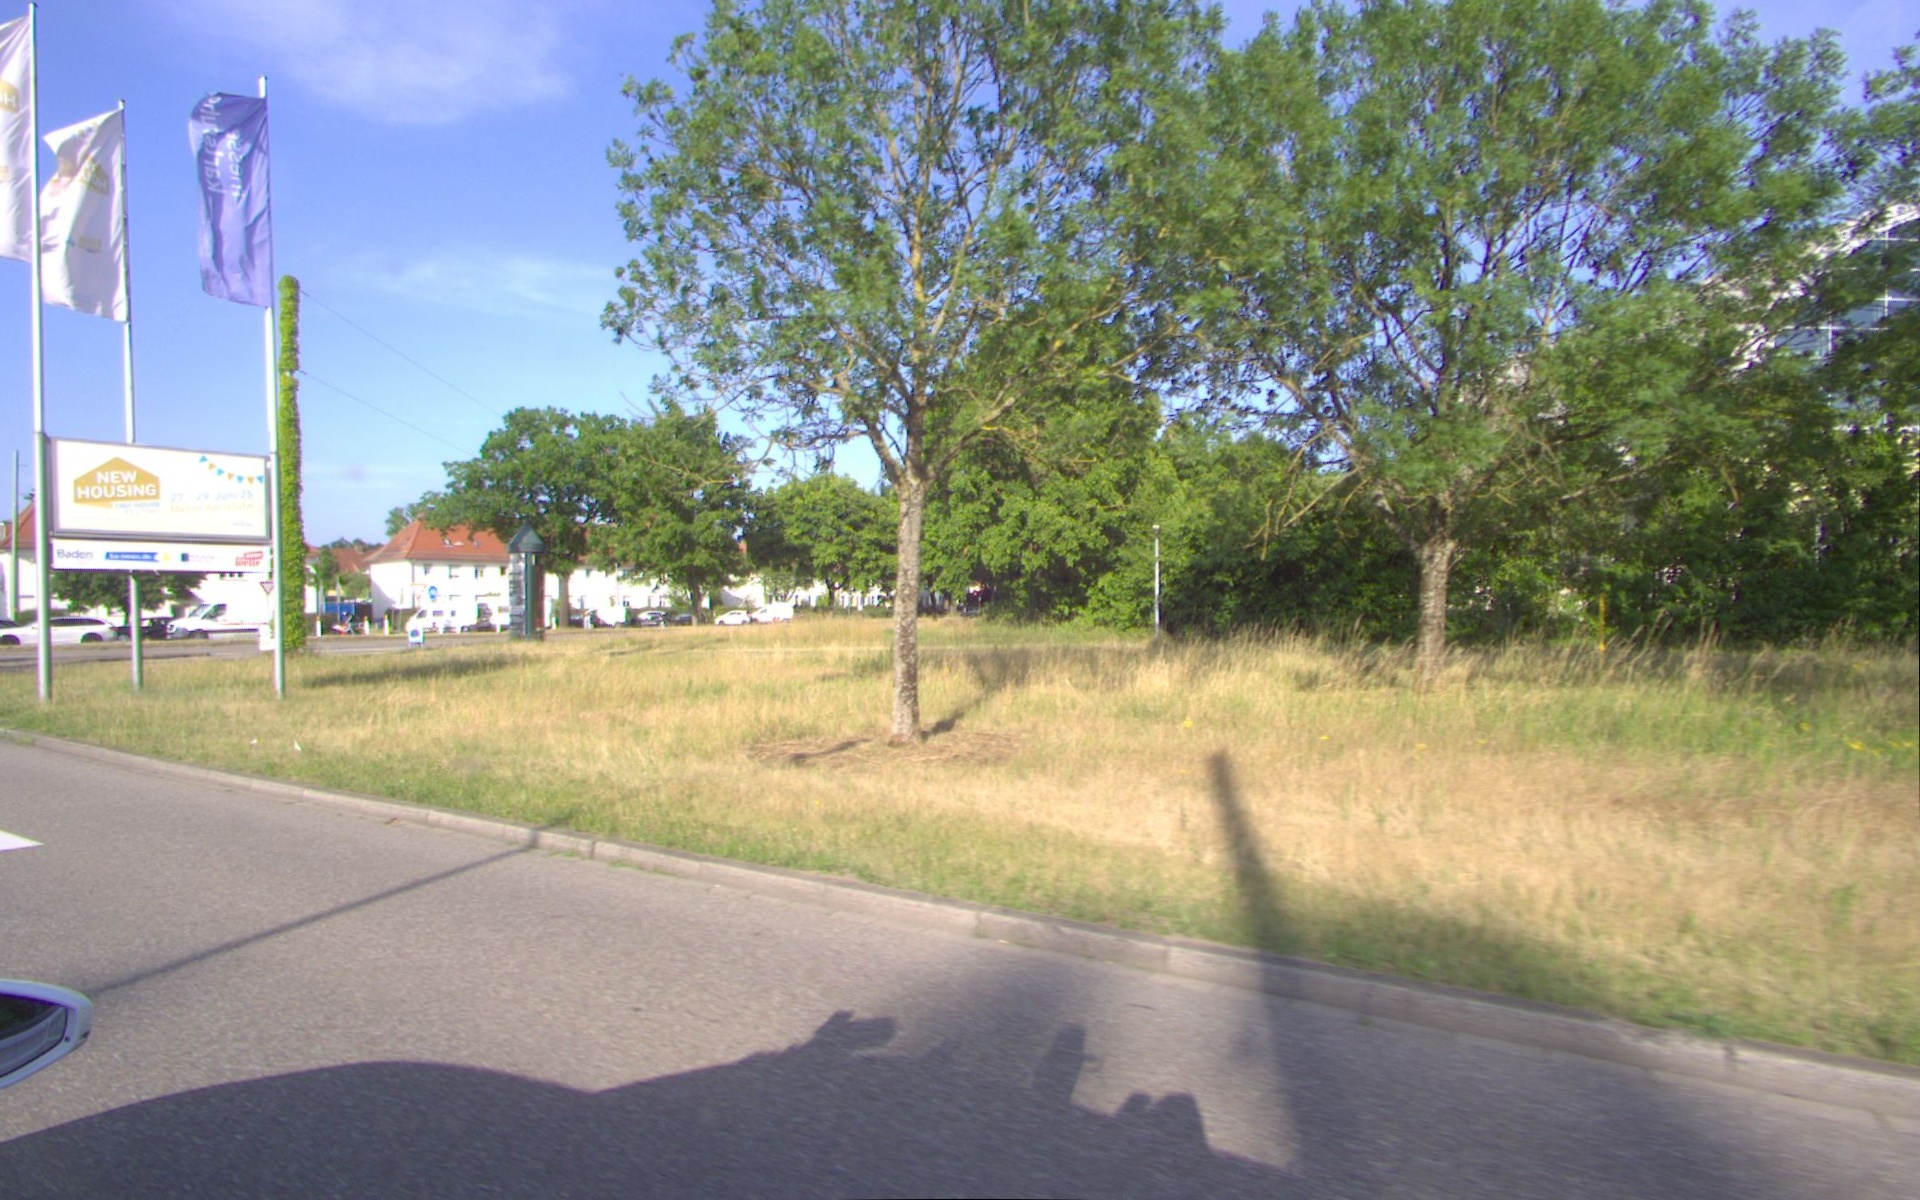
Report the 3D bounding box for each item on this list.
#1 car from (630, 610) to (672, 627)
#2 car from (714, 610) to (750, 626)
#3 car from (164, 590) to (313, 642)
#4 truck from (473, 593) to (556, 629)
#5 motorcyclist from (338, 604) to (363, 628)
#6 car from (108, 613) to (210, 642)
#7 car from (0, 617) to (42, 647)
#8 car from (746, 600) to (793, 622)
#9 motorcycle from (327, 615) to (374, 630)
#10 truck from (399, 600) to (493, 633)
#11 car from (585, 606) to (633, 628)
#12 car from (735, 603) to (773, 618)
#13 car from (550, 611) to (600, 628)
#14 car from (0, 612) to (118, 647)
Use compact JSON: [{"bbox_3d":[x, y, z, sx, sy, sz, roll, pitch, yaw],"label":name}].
[{"bbox_3d":[-28.981,1.686,94.070,3.432,1.534,1.895,-1,0,-6],"label":"car"},{"bbox_3d":[-23.250,1.839,102.311,3.367,1.534,1.895,-1,0,-6],"label":"car"},{"bbox_3d":[-38.640,0.852,53.839,1.974,2.617,6.187,0,0,36],"label":"car"},{"bbox_3d":[-37.006,0.918,83.317,5.964,2.892,1.895,-1,0,-10],"label":"truck"},{"bbox_3d":[-35.004,0.923,57.529,0.671,1.369,1.062,0,0,35],"label":"motorcyclist"},{"bbox_3d":[-42.956,1.450,53.772,1.694,1.472,3.973,-1,0,37],"label":"car"},{"bbox_3d":[-47.340,1.544,47.910,1.694,1.430,4.807,-1,0,37],"label":"car"},{"bbox_3d":[-20.401,1.210,107.330,4.885,2.261,1.999,-1,0,-10],"label":"car"},{"bbox_3d":[-35.003,1.289,57.539,0.681,0.878,2.264,0,0,35],"label":"motorcycle"},{"bbox_3d":[-40.042,1.265,78.120,6.233,2.557,2.277,0,0,1],"label":"truck"},{"bbox_3d":[-31.987,1.503,91.375,3.835,1.945,1.895,-1,0,-10],"label":"car"},{"bbox_3d":[-25.827,1.342,125.504,4.914,1.742,1.987,-1,0,36],"label":"car"},{"bbox_3d":[-34.079,1.728,88.656,3.837,1.475,1.894,-1,0,-13],"label":"car"},{"bbox_3d":[-43.306,1.365,47.352,1.816,1.583,5.077,-1,0,37],"label":"car"}]
